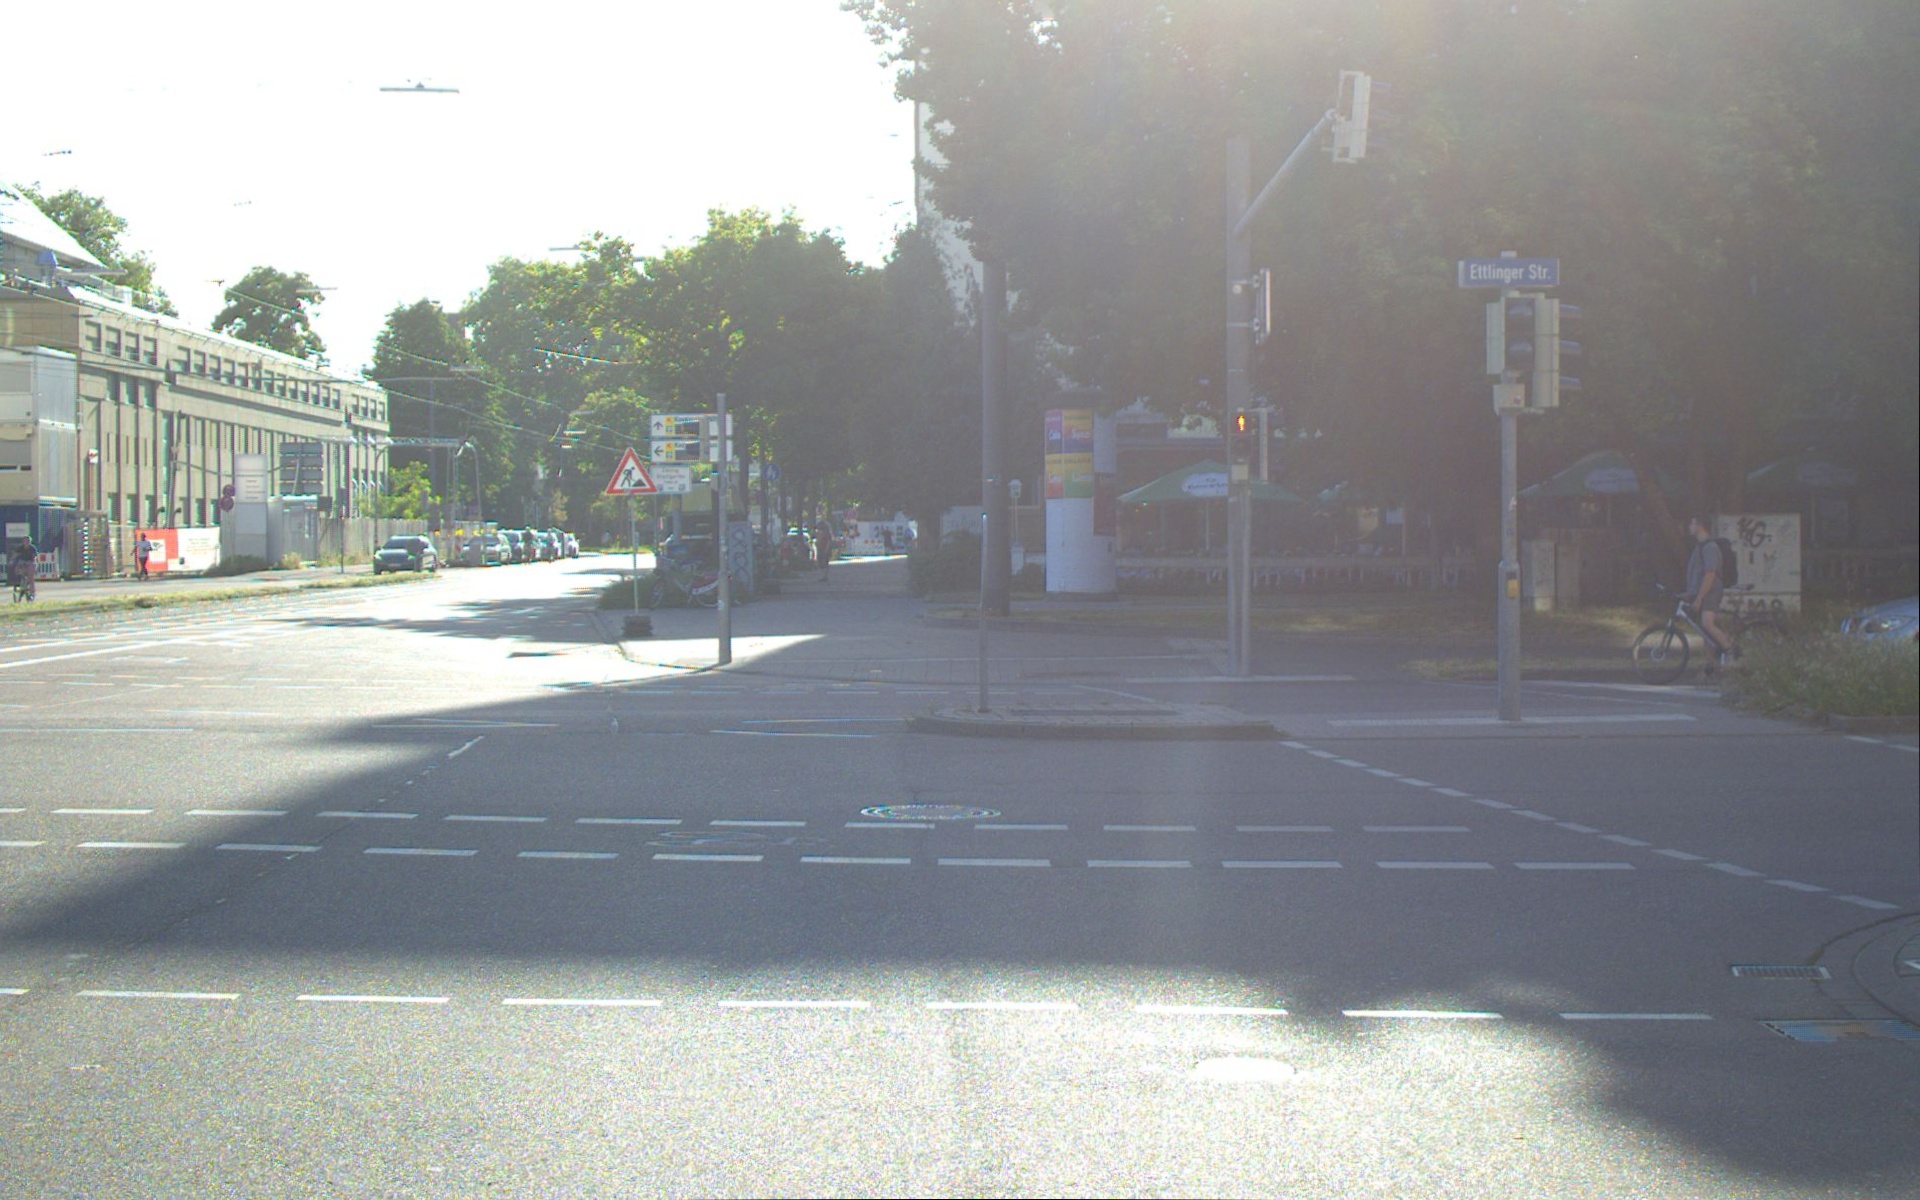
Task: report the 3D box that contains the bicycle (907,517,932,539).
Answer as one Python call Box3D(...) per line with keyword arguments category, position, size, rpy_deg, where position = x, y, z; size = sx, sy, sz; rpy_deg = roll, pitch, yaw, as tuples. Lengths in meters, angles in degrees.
Box3D(category="bicycle", position=(-2.362, -4.194, 200.590), size=(0.890, 1.215, 2.794), rpy_deg=(1, 1, -12))

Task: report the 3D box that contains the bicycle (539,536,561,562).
Box3D(category="bicycle", position=(-19.663, -2.428, 164.843), size=(0.750, 1.201, 3.108), rpy_deg=(1, 1, -2))

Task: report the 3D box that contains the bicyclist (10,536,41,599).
Box3D(category="bicyclist", position=(-22.215, -0.777, 81.731), size=(0.494, 1.493, 0.666), rpy_deg=(-1, 1, 2))

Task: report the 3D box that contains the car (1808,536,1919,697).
Box3D(category="car", position=(10.832, 0.173, 33.568), size=(4.576, 1.511, 2.000), rpy_deg=(1, 0, 0))

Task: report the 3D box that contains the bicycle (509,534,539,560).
Box3D(category="bicycle", position=(-20.151, -2.437, 158.960), size=(0.751, 1.201, 3.107), rpy_deg=(1, 1, 5))

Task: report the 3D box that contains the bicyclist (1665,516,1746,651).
Box3D(category="bicyclist", position=(7.886, -0.177, 36.374), size=(0.747, 1.401, 0.702), rpy_deg=(1, 0, 6))

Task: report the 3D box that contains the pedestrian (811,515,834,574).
Box3D(category="pedestrian", position=(-3.894, -1.572, 97.591), size=(0.576, 1.683, 0.585), rpy_deg=(-1, 1, -8))

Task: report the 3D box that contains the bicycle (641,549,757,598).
Box3D(category="bicycle", position=(-5.101, -0.520, 67.218), size=(2.244, 0.937, 0.654), rpy_deg=(-1, 1, -5))

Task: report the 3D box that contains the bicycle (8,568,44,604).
Box3D(category="bicycle", position=(-22.209, -0.328, 81.745), size=(0.494, 0.836, 1.156), rpy_deg=(-1, 1, 2))

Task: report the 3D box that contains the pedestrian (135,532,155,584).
Box3D(category="pedestrian", position=(-29.604, -1.536, 124.877), size=(0.588, 1.883, 0.478), rpy_deg=(1, 0, -1))

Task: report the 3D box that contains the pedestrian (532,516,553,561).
Box3D(category="pedestrian", position=(-19.297, -2.836, 158.983), size=(0.751, 2.056, 1.050), rpy_deg=(1, 0, 5))

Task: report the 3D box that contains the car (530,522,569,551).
Box3D(category="car", position=(-23.235, -3.595, 194.691), size=(1.993, 1.638, 4.001), rpy_deg=(-1, 1, -4))

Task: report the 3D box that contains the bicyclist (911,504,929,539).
Box3D(category="bicyclist", position=(-2.345, -4.591, 200.512), size=(0.890, 2.007, 0.749), rpy_deg=(1, 0, -12))

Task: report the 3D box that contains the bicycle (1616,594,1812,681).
Box3D(category="bicycle", position=(7.968, 0.387, 36.375), size=(1.944, 0.886, 0.718), rpy_deg=(1, 0, 6))

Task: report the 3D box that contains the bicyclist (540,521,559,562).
Box3D(category="bicyclist", position=(-19.656, -2.792, 164.720), size=(0.750, 1.913, 1.215), rpy_deg=(1, 0, -2))

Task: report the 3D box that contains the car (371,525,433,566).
Box3D(category="car", position=(-22.024, -2.165, 135.748), size=(1.993, 1.593, 4.001), rpy_deg=(-1, 1, -3))
